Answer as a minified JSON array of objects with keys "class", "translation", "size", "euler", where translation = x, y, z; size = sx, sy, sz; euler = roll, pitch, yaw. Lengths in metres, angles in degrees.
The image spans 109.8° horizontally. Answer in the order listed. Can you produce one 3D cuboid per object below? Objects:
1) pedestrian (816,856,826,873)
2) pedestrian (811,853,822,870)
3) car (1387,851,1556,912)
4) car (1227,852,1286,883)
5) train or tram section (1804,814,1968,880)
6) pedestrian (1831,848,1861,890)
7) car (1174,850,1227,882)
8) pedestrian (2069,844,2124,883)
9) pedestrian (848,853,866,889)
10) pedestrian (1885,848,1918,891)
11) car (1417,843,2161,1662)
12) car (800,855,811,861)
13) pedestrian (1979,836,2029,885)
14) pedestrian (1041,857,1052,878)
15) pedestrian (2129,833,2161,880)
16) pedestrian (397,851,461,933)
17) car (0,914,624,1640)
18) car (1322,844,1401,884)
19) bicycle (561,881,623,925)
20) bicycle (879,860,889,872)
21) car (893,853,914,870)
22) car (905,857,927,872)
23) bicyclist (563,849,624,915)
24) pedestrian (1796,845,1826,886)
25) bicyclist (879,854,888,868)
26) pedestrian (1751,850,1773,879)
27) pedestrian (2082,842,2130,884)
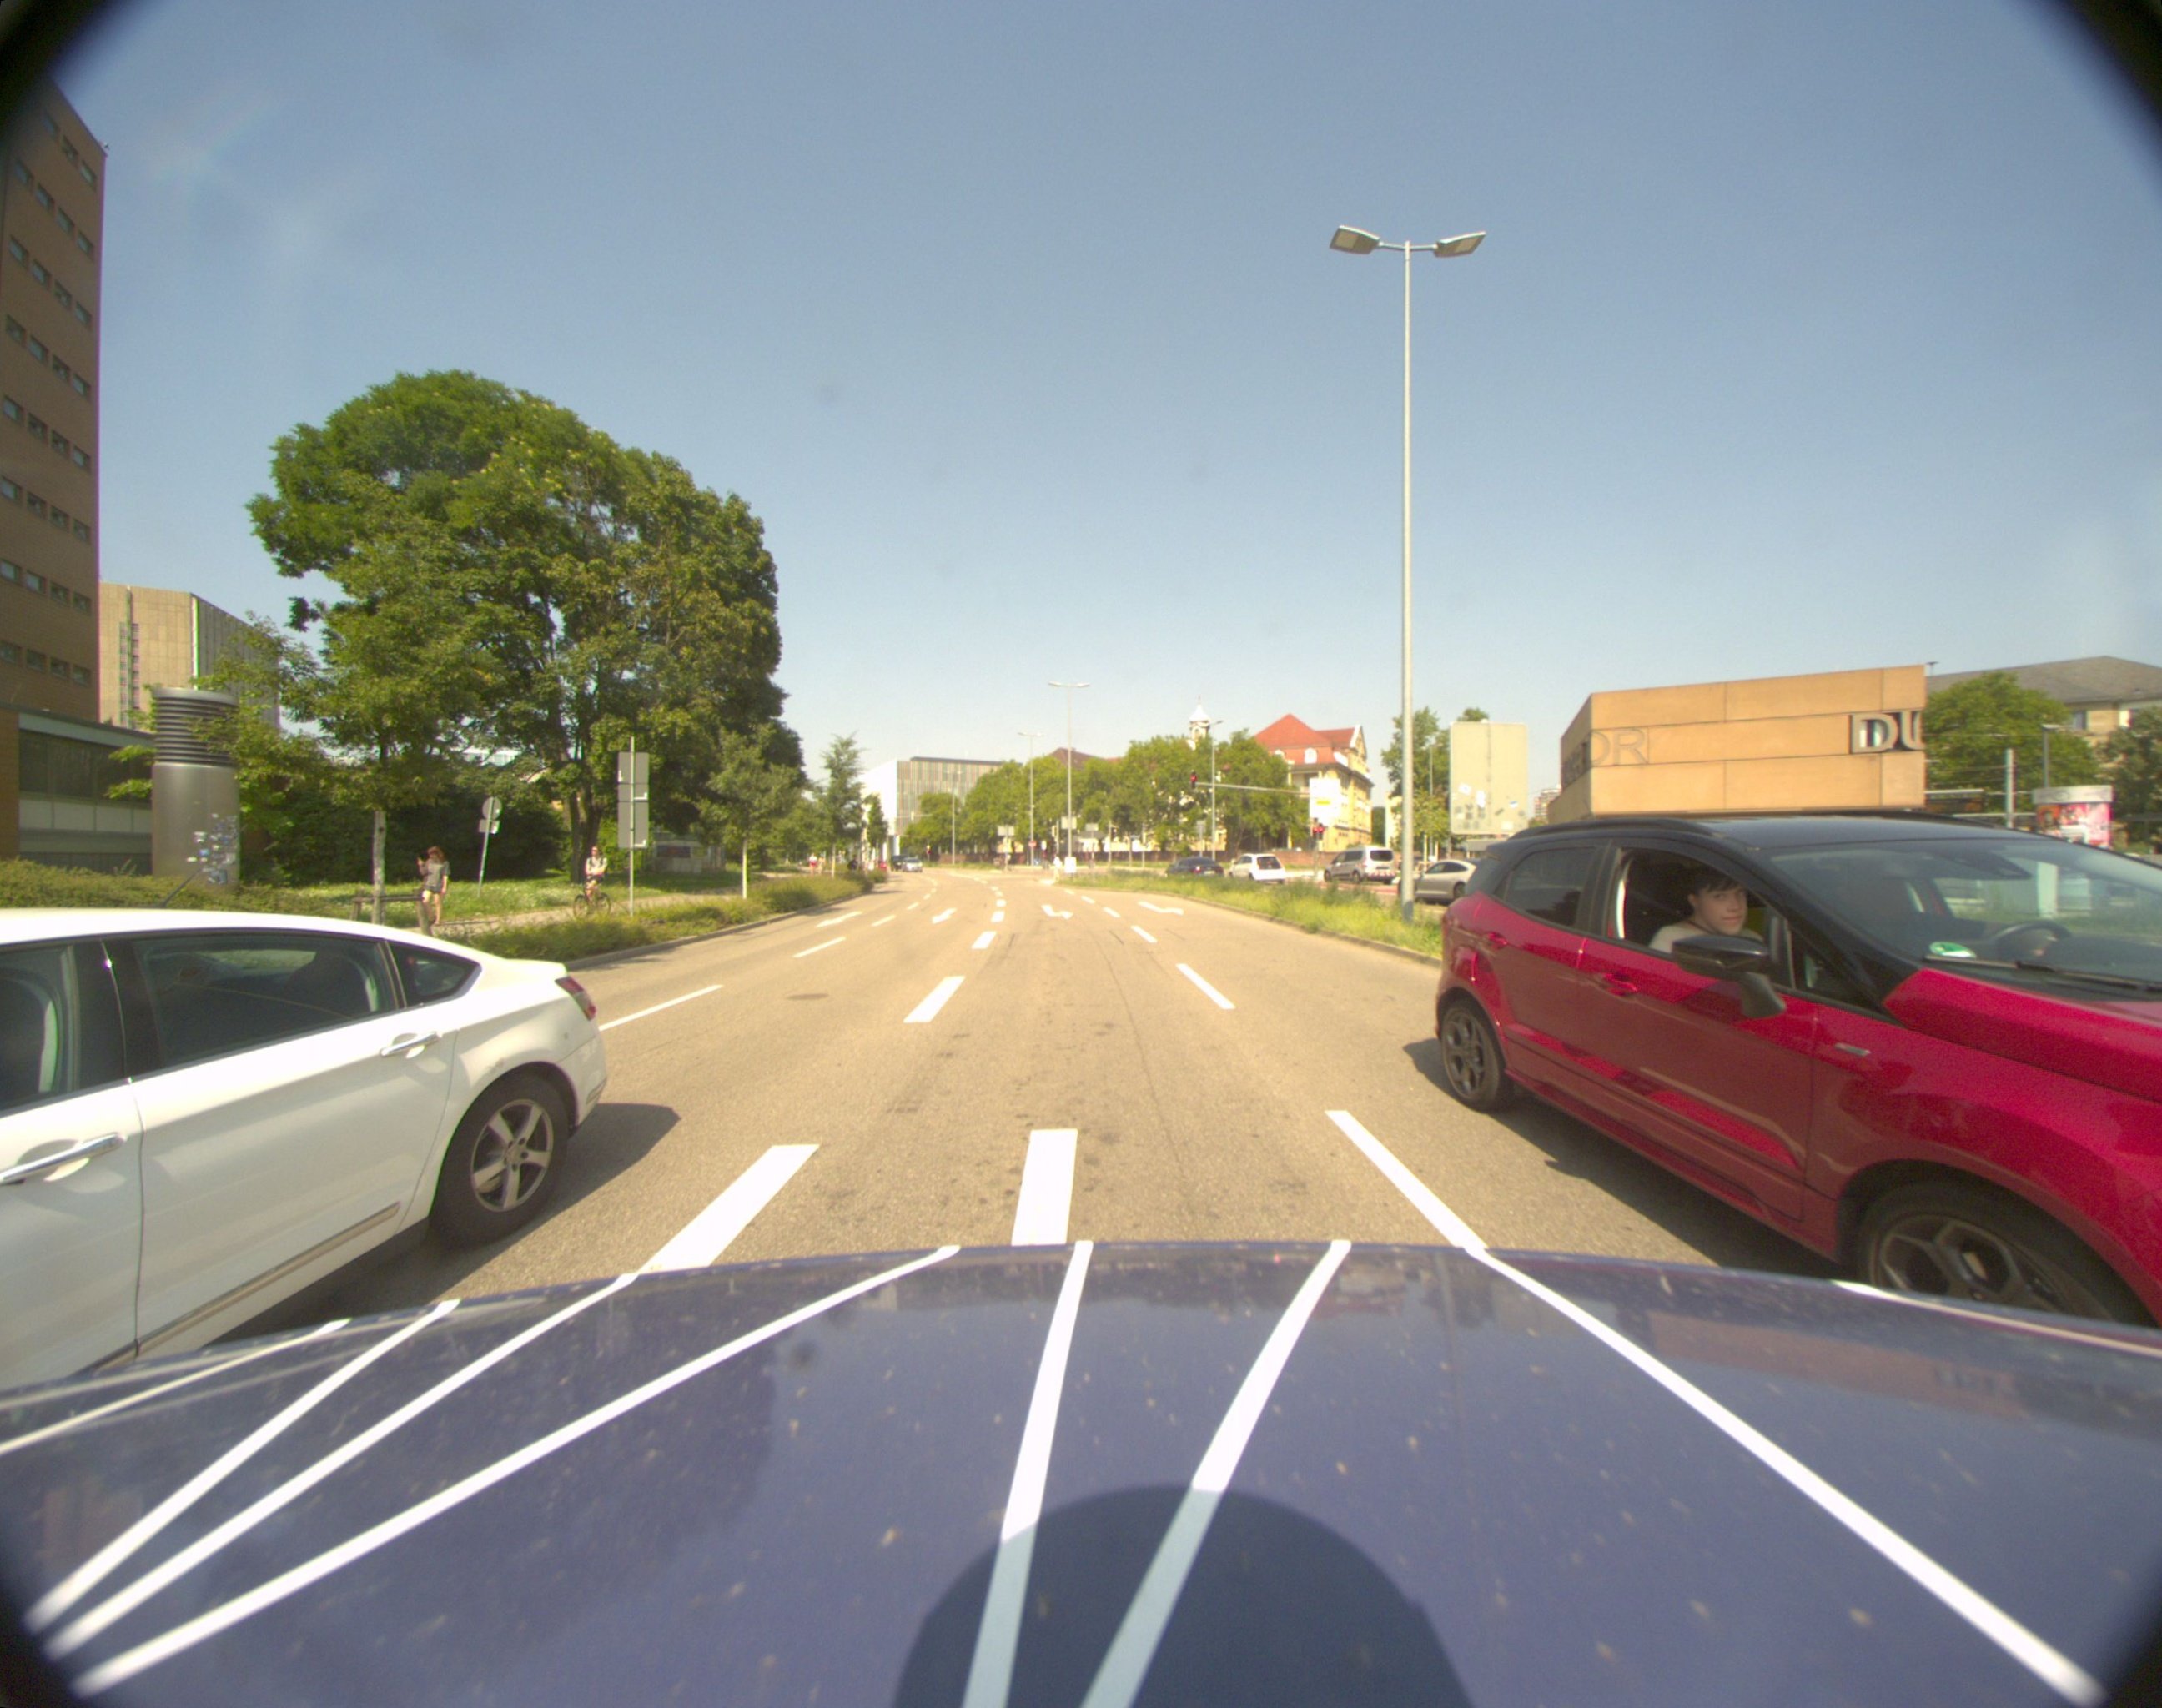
[{"class":"pedestrian","translation":[-19.465,0.780,56.876],"size":[0.618,1.291,0.436],"euler":[-3,1,-25]},{"class":"pedestrian","translation":[-19.801,0.562,56.855],"size":[0.635,1.291,0.486],"euler":[-3,1,-24]},{"class":"car","translation":[11.233,0.726,22.335],"size":[2.000,1.576,4.711],"euler":[0,0,-10]},{"class":"car","translation":[8.680,0.632,37.888],"size":[1.527,1.470,3.473],"euler":[0,0,-12]},{"class":"train or tram section","translation":[48.026,-0.403,45.996],"size":[2.698,3.418,13.446],"euler":[0,0,28]},{"class":"pedestrian","translation":[27.857,0.535,27.662],"size":[0.539,1.488,0.541],"euler":[0,1,-1]},{"class":"car","translation":[5.662,0.543,36.315],"size":[1.526,1.417,3.474],"euler":[0,0,-9]},{"class":"pedestrian","translation":[44.408,0.416,33.247],"size":[1.076,1.686,1.066],"euler":[0,1,28]},{"class":"pedestrian","translation":[-11.924,0.909,40.482],"size":[0.823,1.892,0.630],"euler":[-1,1,-12]},{"class":"pedestrian","translation":[28.801,0.547,26.677],"size":[0.539,1.488,0.541],"euler":[0,1,-1]},{"class":"car","translation":[2.965,0.776,2.844],"size":[1.694,1.577,3.845],"euler":[-2,0,0]},{"class":"car","translation":[-70.927,0.957,195.784],"size":[1.877,1.521,4.522],"euler":[0,0,-31]},{"class":"pedestrian","translation":[27.977,0.196,23.048],"size":[0.771,1.488,0.606],"euler":[0,1,-1]},{"class":"pedestrian","translation":[-2.196,0.840,48.356],"size":[0.605,1.291,0.617],"euler":[-2,1,-4]},{"class":"pedestrian","translation":[41.752,0.105,29.675],"size":[0.804,1.812,0.534],"euler":[0,1,28]},{"class":"pedestrian","translation":[-13.935,0.790,16.259],"size":[0.672,1.689,0.805],"euler":[0,1,-6]},{"class":"car","translation":[-3.268,1.020,1.523],"size":[1.773,1.420,4.610],"euler":[0,0,2]},{"class":"car","translation":[13.683,0.436,37.289],"size":[1.869,1.843,3.911],"euler":[0,1,-12]},{"class":"bicycle","translation":[-12.031,1.179,18.746],"size":[0.357,0.974,1.782],"euler":[0,0,1]},{"class":"bicycle","translation":[-20.923,1.249,80.596],"size":[0.594,1.162,2.235],"euler":[0,0,-3]},{"class":"car","translation":[-21.023,0.899,89.970],"size":[1.893,1.908,4.525],"euler":[-2,0,-20]},{"class":"car","translation":[-18.112,1.147,83.280],"size":[1.661,1.521,4.526],"euler":[-2,0,-20]},{"class":"bicyclist","translation":[-12.073,0.669,18.839],"size":[0.904,1.596,0.924],"euler":[0,1,-1]},{"class":"pedestrian","translation":[26.691,0.412,27.780],"size":[0.539,1.488,0.541],"euler":[0,1,-1]},{"class":"bicyclist","translation":[-20.902,0.728,80.496],"size":[0.679,1.392,1.049],"euler":[0,1,-3]},{"class":"pedestrian","translation":[26.885,0.409,30.005],"size":[0.538,1.093,0.543],"euler":[0,1,32]},{"class":"pedestrian","translation":[44.585,0.380,33.053],"size":[0.927,1.812,0.939],"euler":[0,1,28]}]
